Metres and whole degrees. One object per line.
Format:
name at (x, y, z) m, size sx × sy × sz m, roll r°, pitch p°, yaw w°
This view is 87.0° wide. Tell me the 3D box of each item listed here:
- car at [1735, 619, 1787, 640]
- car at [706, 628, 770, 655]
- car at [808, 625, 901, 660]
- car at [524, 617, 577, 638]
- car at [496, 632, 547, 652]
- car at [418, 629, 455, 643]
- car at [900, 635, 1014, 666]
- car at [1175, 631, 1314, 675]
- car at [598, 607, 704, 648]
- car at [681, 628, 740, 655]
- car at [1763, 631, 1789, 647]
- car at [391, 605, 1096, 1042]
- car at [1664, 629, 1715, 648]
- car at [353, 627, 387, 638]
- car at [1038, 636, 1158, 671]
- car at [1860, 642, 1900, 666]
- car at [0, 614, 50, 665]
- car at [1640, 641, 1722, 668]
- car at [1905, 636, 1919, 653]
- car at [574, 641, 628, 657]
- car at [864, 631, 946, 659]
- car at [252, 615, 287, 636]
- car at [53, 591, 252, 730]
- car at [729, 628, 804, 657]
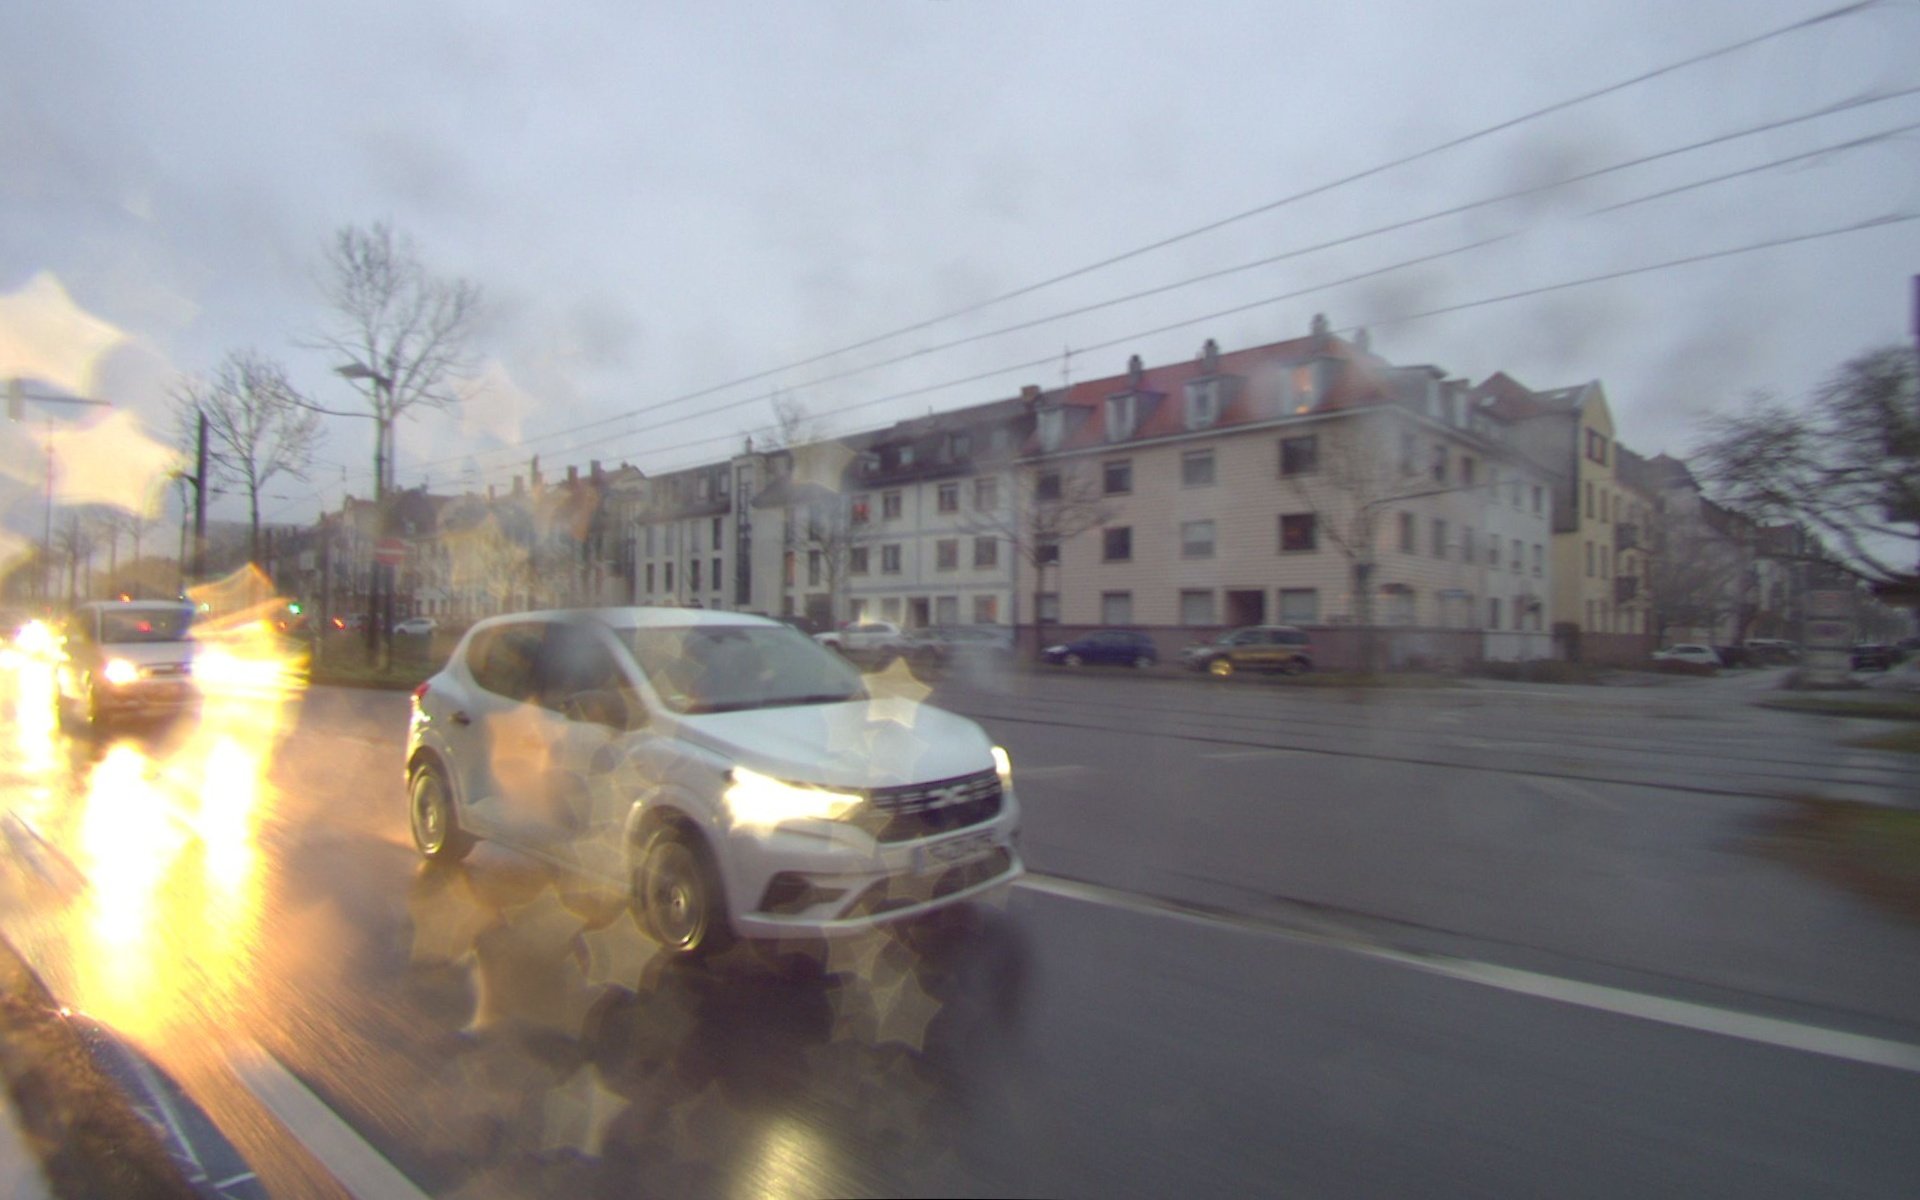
car at (81.320, 2.965, 102.736) m, size 3.999 × 2.029 × 1.972 m, roll 0°, pitch 0°, yaw 42°
car at (-11.414, 2.121, 51.896) m, size 3.153 × 1.395 × 1.317 m, roll 0°, pitch -2°, yaw -14°
car at (-4.683, 1.860, 44.779) m, size 3.947 × 1.516 × 1.316 m, roll 0°, pitch 0°, yaw -11°
car at (-27.563, 1.857, 68.247) m, size 3.151 × 1.326 × 1.556 m, roll 0°, pitch 0°, yaw -16°
car at (-31.430, 3.017, 72.554) m, size 3.152 × 1.326 × 1.555 m, roll 0°, pitch 0°, yaw -14°
car at (-44.923, 3.053, 86.925) m, size 2.589 × 1.114 × 1.256 m, roll 0°, pitch 0°, yaw -43°
car at (-0.116, 2.012, 40.228) m, size 4.333 × 1.140 × 1.251 m, roll 1°, pitch 0°, yaw -12°
car at (8.822, 1.629, 31.476) m, size 3.934 × 1.265 × 1.448 m, roll 0°, pitch 0°, yaw -12°
car at (-17.973, 1.582, 59.078) m, size 5.811 × 2.271 × 1.826 m, roll 0°, pitch 0°, yaw -12°
car at (-13.323, 2.225, 54.198) m, size 3.058 × 1.395 × 1.316 m, roll 0°, pitch -2°, yaw -12°
car at (101.087, 4.790, 125.309) m, size 3.940 × 1.796 × 2.002 m, roll 0°, pitch 0°, yaw -44°
car at (-1.407, 0.774, 5.432) m, size 3.999 × 1.477 × 1.690 m, roll 0°, pitch 0°, yaw 42°
car at (61.293, 3.202, 85.014) m, size 3.411 × 1.448 × 1.411 m, roll 0°, pitch 0°, yaw 40°
car at (-55.545, 3.065, 95.365) m, size 2.528 × 0.994 × 1.259 m, roll 0°, pitch 0°, yaw -16°
car at (4.865, 1.860, 35.801) m, size 3.935 × 1.140 × 1.365 m, roll 0°, pitch 0°, yaw -10°
car at (56.513, 3.298, 62.156) m, size 3.220 × 1.296 × 1.564 m, roll 0°, pitch 0°, yaw -42°
car at (-29.925, 1.222, 31.588) m, size 4.092 × 1.513 × 1.948 m, roll -2°, pitch -1°, yaw 43°
car at (41.791, 3.123, 58.746) m, size 3.517 × 1.448 × 1.550 m, roll 0°, pitch 0°, yaw 16°
car at (110.223, 5.103, 116.439) m, size 3.940 × 1.796 × 2.002 m, roll 0°, pitch 0°, yaw -44°
car at (-22.367, 3.045, 63.144) m, size 3.058 × 1.014 × 1.189 m, roll 0°, pitch -2°, yaw -12°
car at (-2.311, 1.907, 42.624) m, size 3.260 × 1.140 × 1.316 m, roll 1°, pitch -2°, yaw -12°
car at (-69.435, 2.522, 101.772) m, size 3.999 × 2.029 × 1.972 m, roll 0°, pitch 0°, yaw 42°
car at (-11.658, 0.740, 14.509) m, size 1.992 × 1.690 × 4.005 m, roll 0°, pitch 0°, yaw -42°
car at (-9.473, 2.085, 49.515) m, size 3.549 × 1.395 × 1.316 m, roll 0°, pitch -2°, yaw -13°
